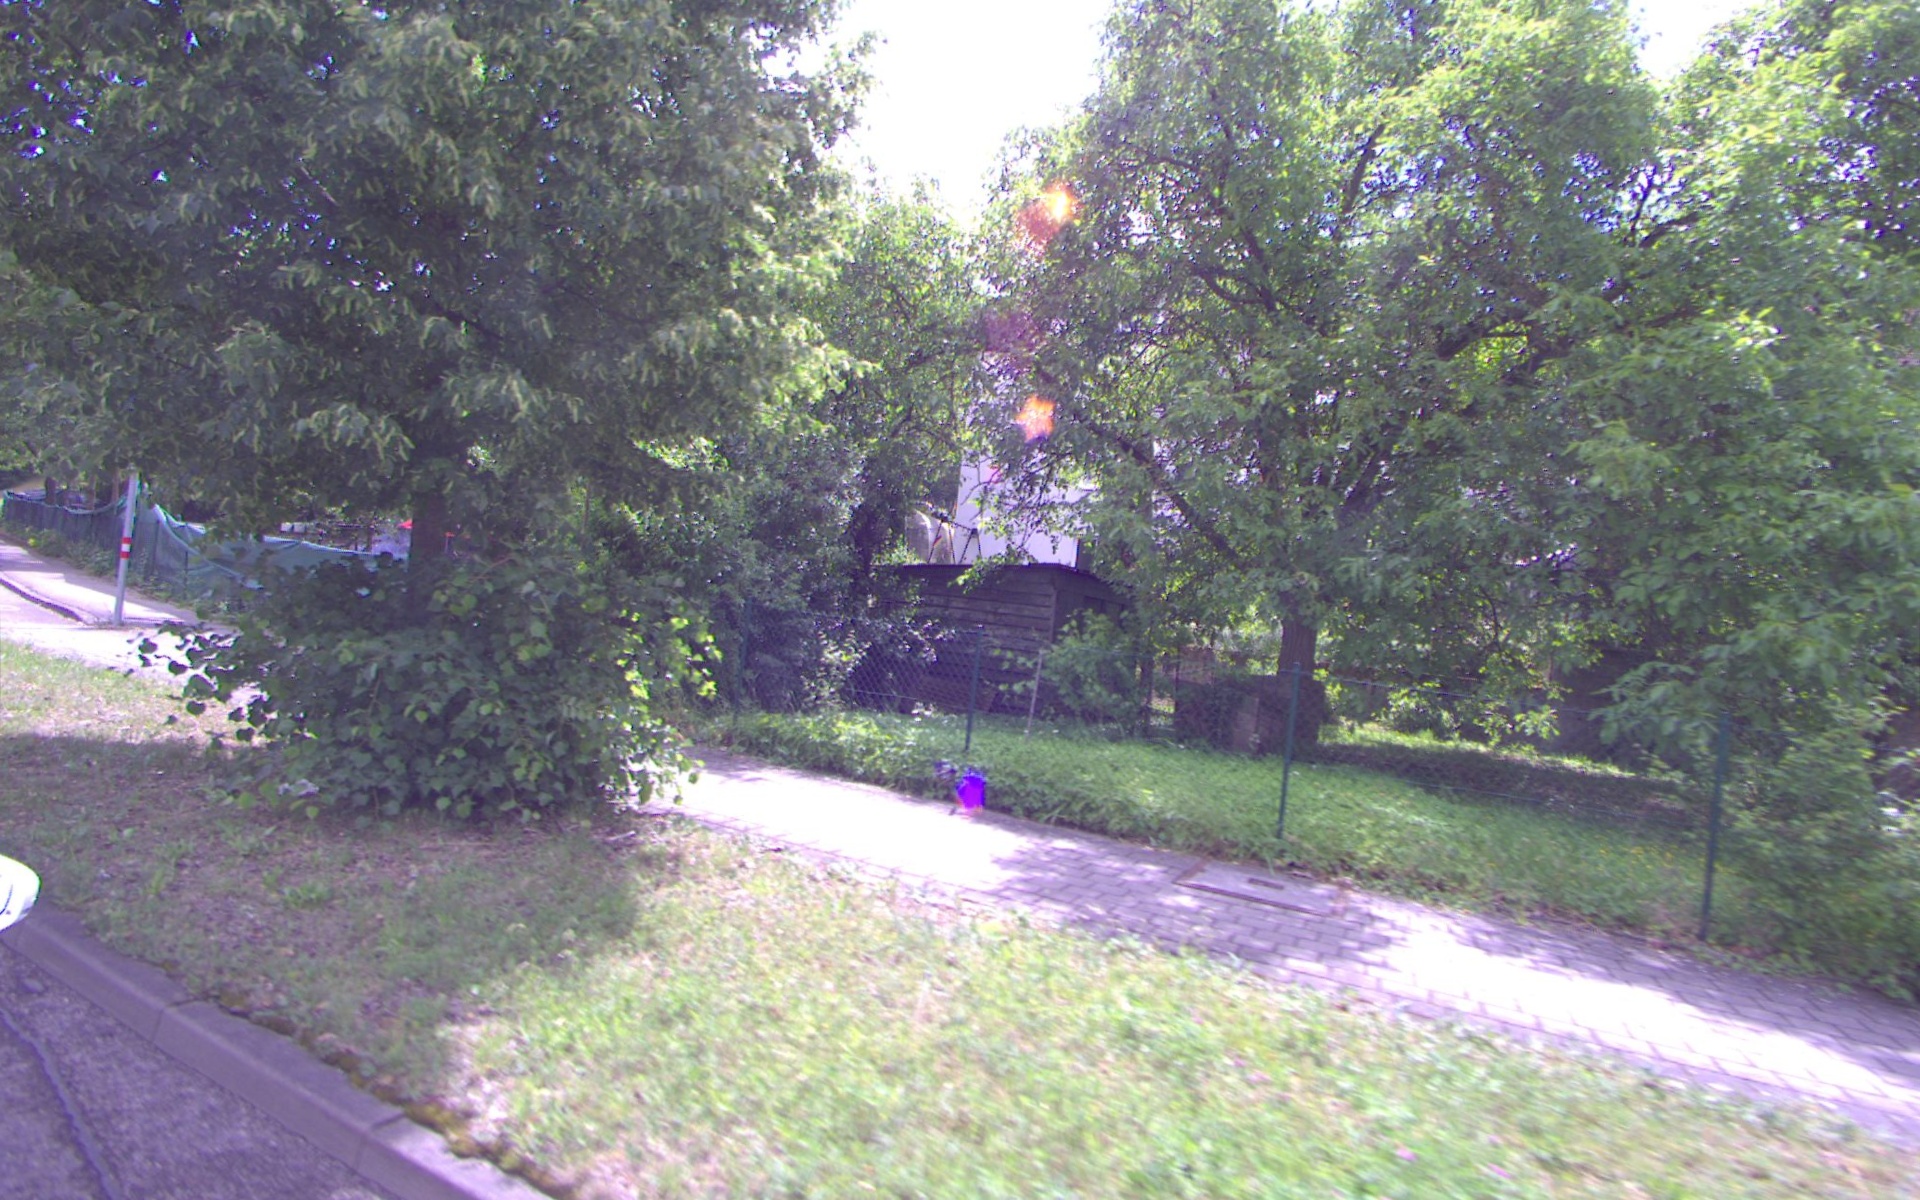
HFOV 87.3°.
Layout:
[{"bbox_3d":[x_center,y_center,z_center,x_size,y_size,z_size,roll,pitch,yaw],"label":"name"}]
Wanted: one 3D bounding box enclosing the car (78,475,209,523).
[{"bbox_3d":[-37.484,-4.594,46.241,1.975,1.693,4.507,4,1,45],"label":"car"}]
